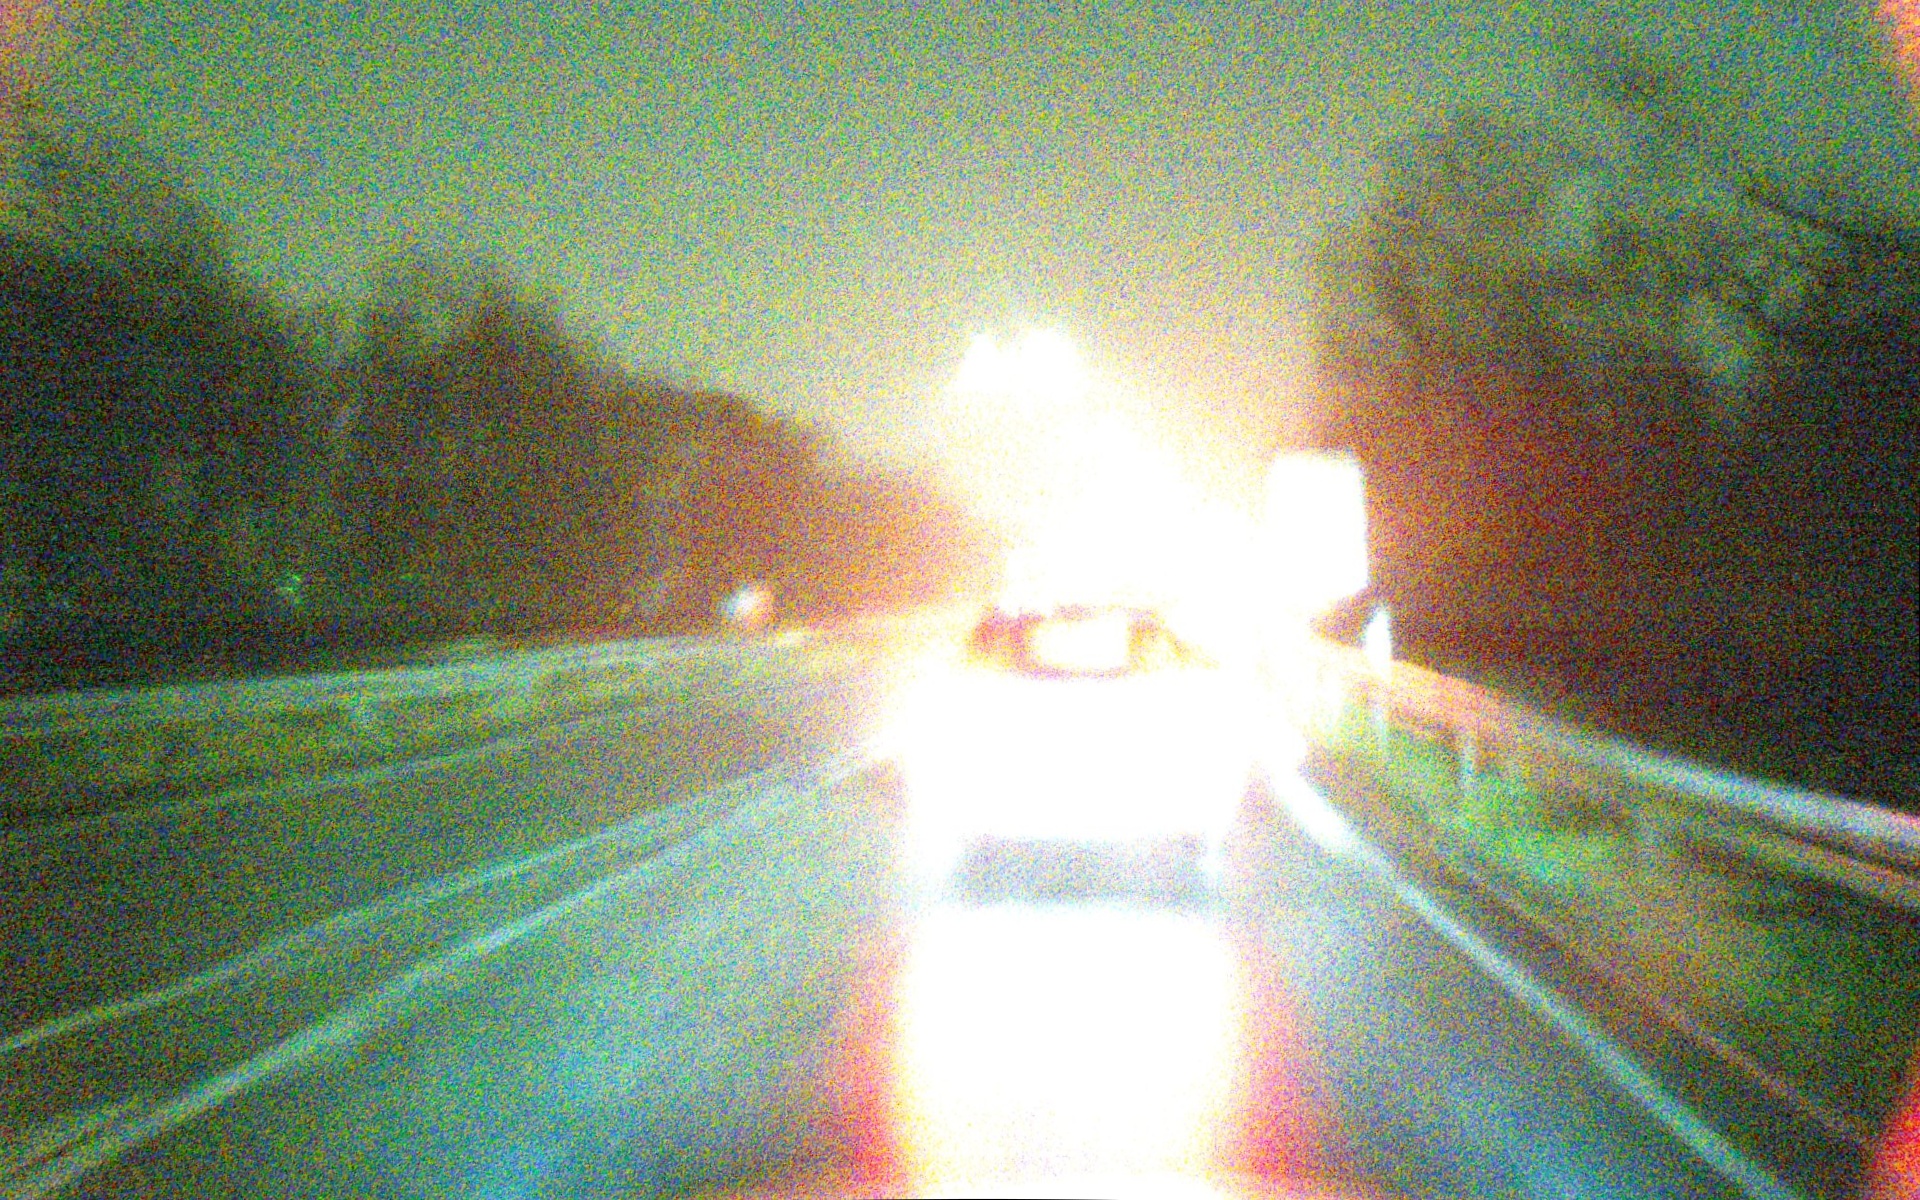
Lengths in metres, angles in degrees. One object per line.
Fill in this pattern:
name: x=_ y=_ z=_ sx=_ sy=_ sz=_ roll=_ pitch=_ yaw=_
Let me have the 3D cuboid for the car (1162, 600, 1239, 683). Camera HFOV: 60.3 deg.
car: x=6.160 y=1.044 z=42.112 sx=1.797 sy=1.982 sz=4.003 roll=1 pitch=-1 yaw=10

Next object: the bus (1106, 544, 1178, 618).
bus: x=8.448 y=-0.871 z=75.991 sx=2.685 sy=3.178 sz=9.209 roll=1 pitch=1 yaw=10

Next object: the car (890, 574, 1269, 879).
car: x=0.830 y=0.643 z=10.214 sx=1.903 sy=1.517 sz=3.719 roll=-1 pitch=0 yaw=7

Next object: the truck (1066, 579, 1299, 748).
truck: x=4.151 y=1.024 z=29.284 sx=3.005 sy=2.573 sz=7.170 roll=1 pitch=-1 yaw=17
